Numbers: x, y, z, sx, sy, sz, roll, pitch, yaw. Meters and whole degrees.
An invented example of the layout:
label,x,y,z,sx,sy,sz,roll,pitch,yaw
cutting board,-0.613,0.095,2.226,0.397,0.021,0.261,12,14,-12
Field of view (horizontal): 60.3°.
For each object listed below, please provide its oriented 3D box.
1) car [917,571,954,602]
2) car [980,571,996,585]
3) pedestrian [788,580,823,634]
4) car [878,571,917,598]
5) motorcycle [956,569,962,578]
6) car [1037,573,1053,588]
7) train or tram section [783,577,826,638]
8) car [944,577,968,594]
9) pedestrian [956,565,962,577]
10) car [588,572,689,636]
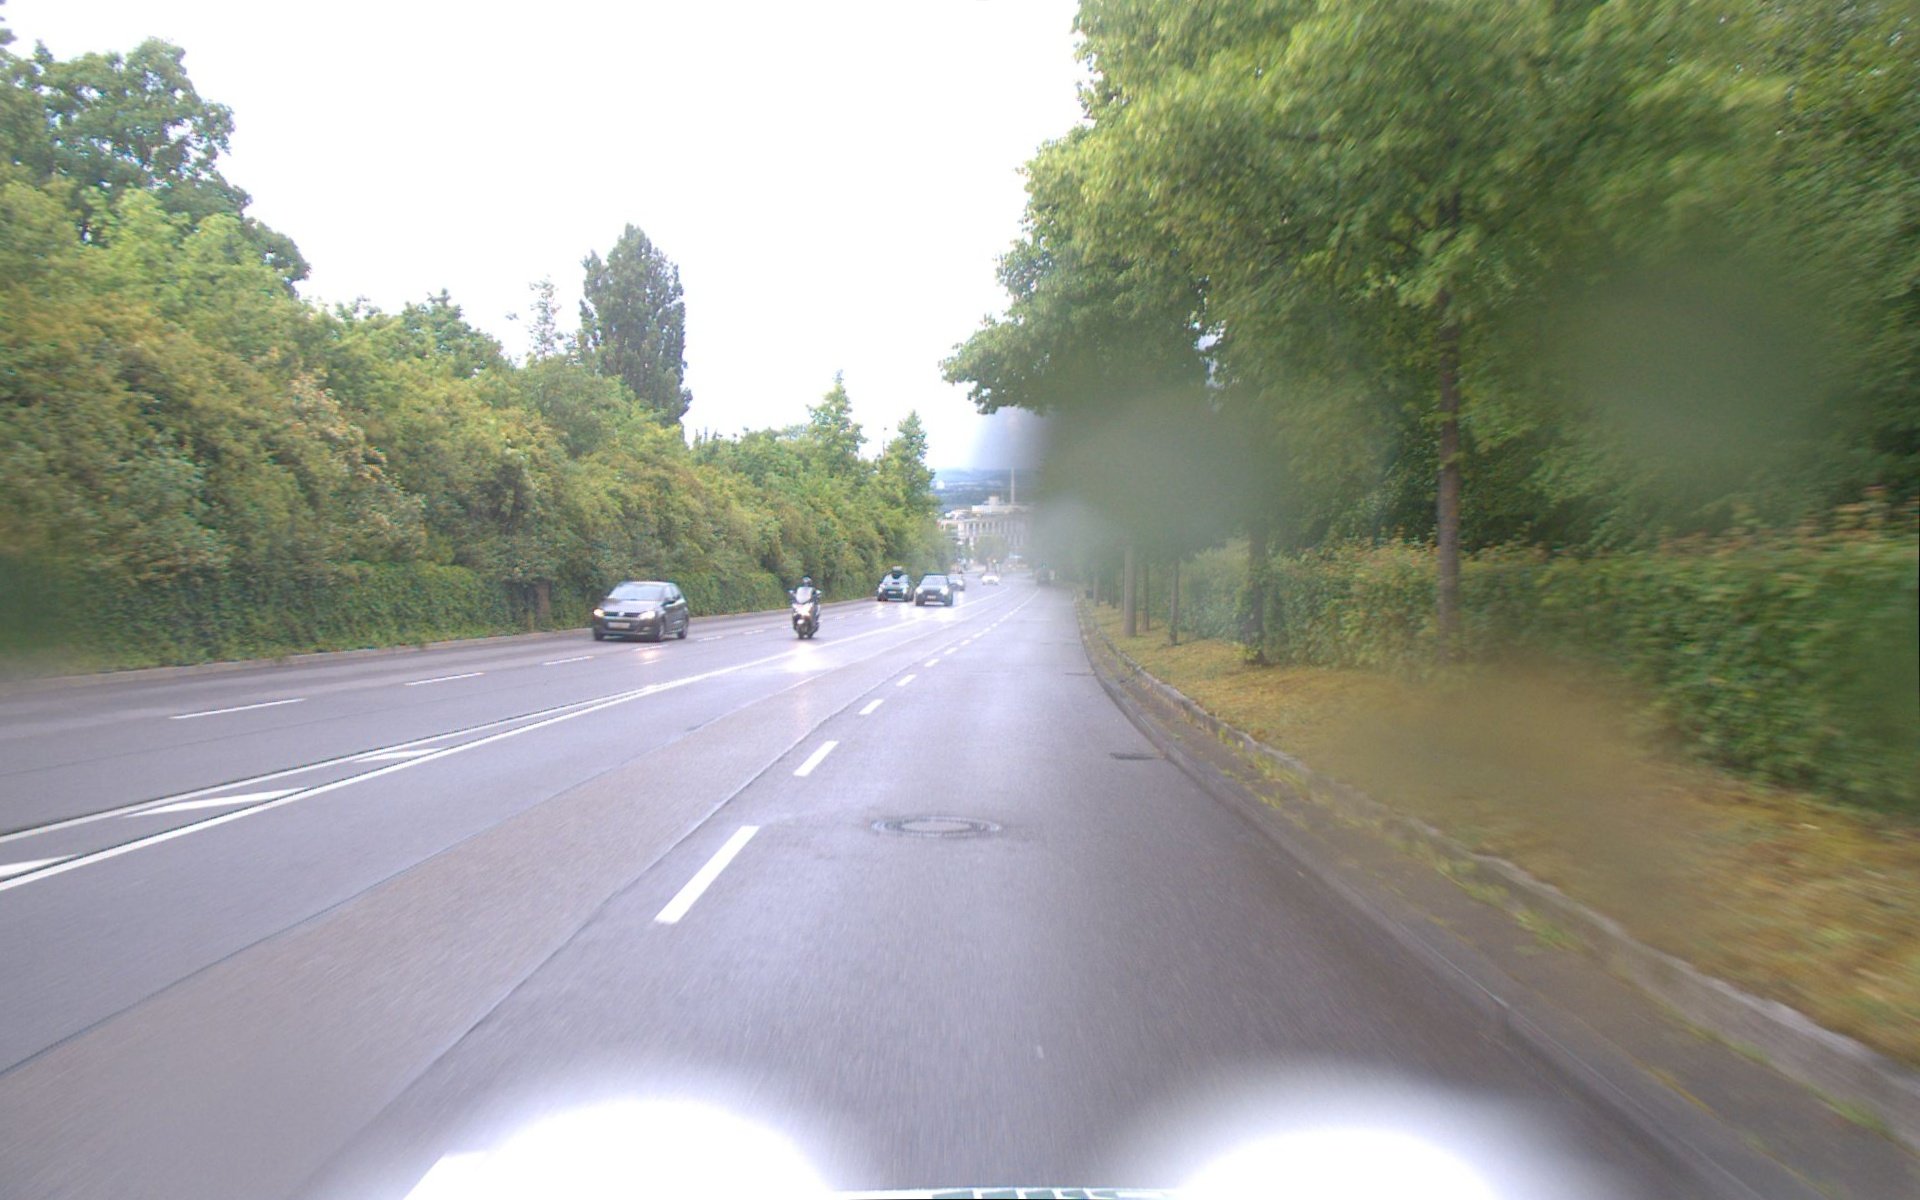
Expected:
label,x,y,z,sx,sy,sz,roll,pitch,yaw
car,-1.359,-0.750,93.872,1.774,1.686,4.597,1,1,3
car,3.460,-2.708,202.362,1.679,1.531,4.519,2,1,4
pedestrian,-4.196,0.186,44.891,0.774,1.408,0.975,2,0,3
car,-3.841,-0.951,101.692,1.859,1.580,4.633,2,1,4
motorcycle,-0.146,-3.701,230.845,0.788,1.151,2.232,1,1,4
car,10.528,-2.388,204.728,1.810,1.731,3.795,2,0,4
train or tram section,-4.198,0.186,44.888,0.774,1.597,2.385,2,0,3
car,-0.342,-1.296,148.564,1.723,1.405,4.841,2,2,4
pedestrian,-0.137,-4.053,230.768,0.788,1.568,1.112,1,1,4
car,-7.741,0.077,40.112,1.516,1.462,3.697,1,0,3
